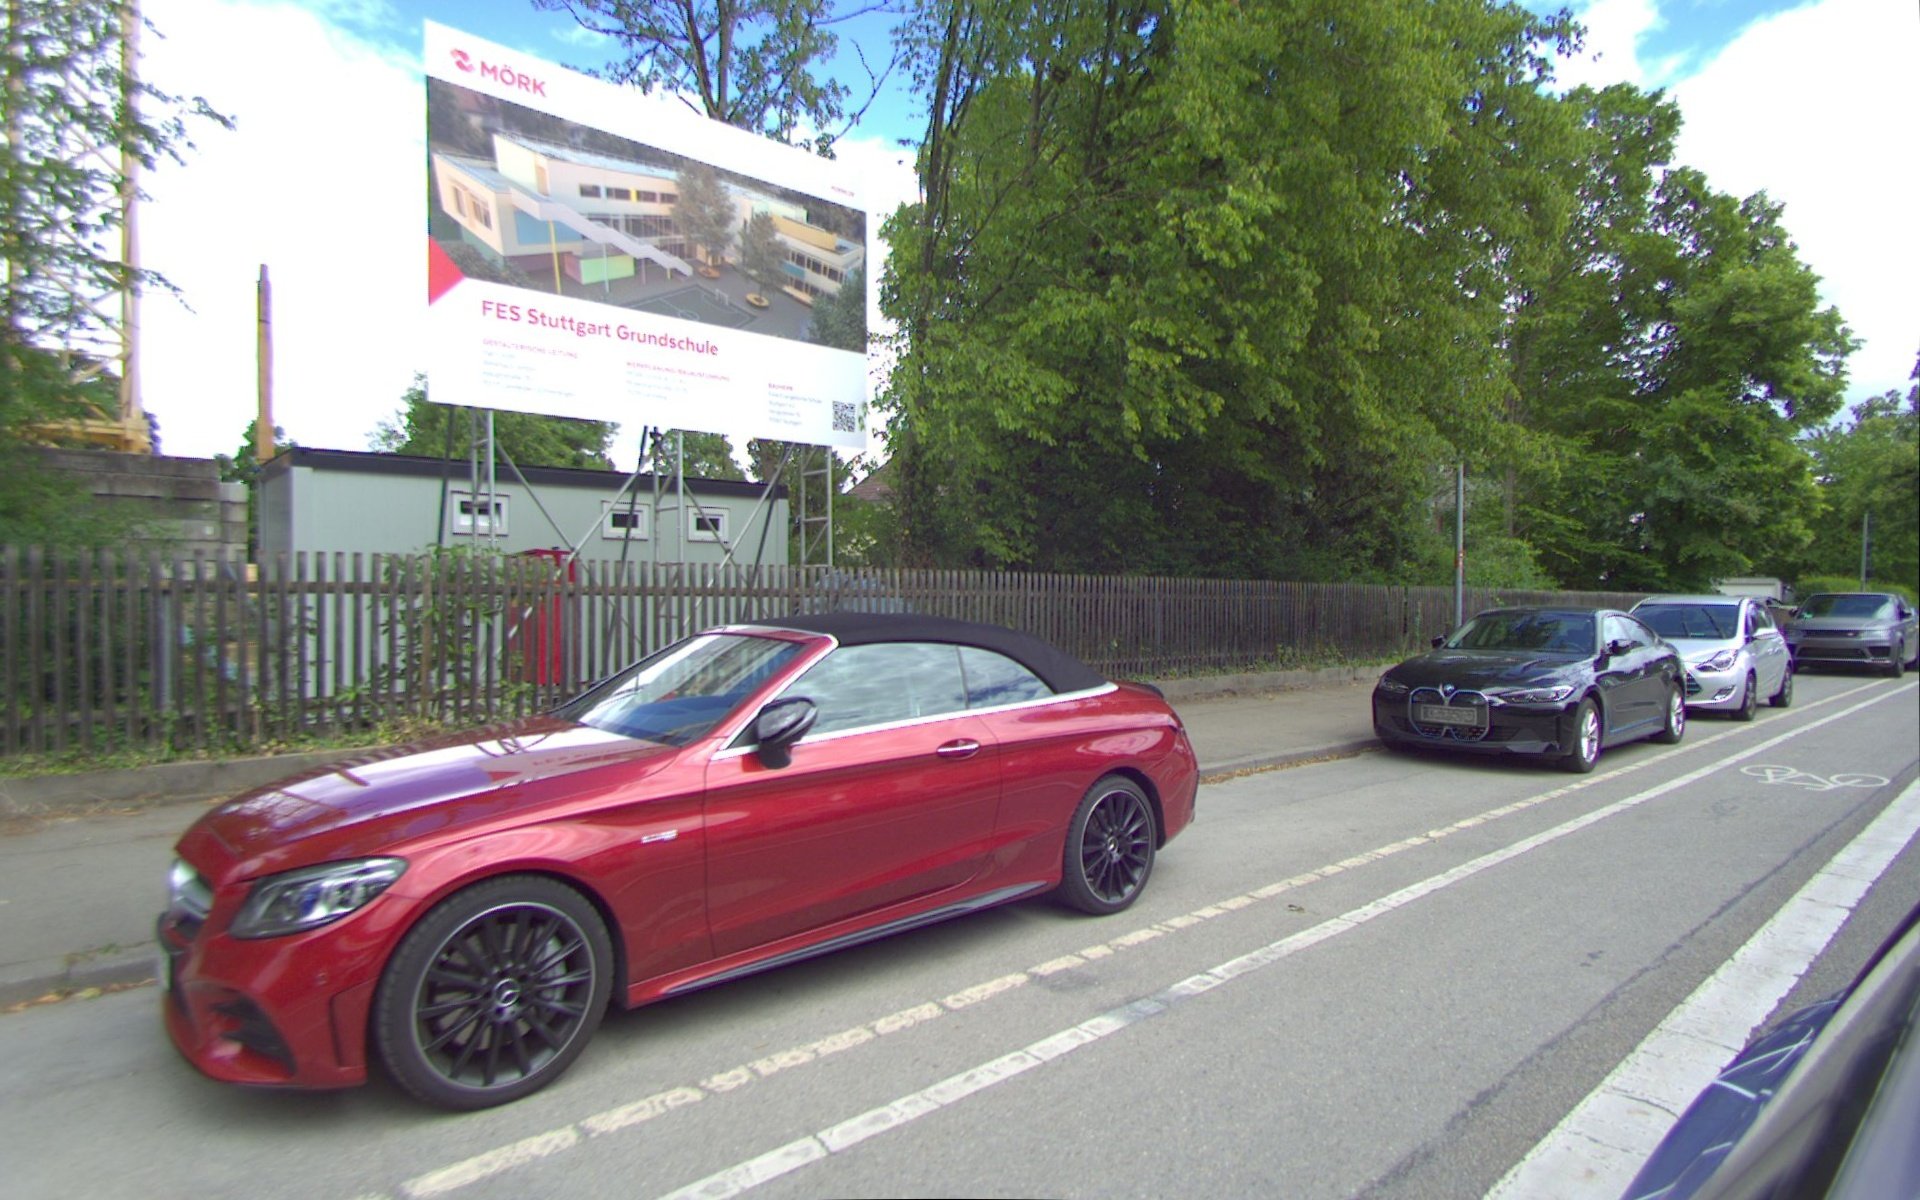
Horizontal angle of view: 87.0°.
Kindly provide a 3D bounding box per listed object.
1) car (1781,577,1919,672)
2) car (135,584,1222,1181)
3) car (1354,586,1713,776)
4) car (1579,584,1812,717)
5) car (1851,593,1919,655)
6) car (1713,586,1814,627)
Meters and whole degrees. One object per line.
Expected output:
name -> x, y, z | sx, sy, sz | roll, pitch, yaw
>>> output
car -> 19.625, 0.443, 21.949 | 4.742, 1.838, 1.997 | -1, 1, -40
car -> -0.894, 0.706, 4.575 | 4.364, 1.432, 1.862 | 1, -1, -40
car -> 6.077, 0.641, 10.465 | 4.599, 1.534, 1.819 | -1, 0, -41
car -> 10.532, 0.592, 14.366 | 4.346, 1.609, 1.865 | 0, 1, -43
car -> 25.080, 0.588, 26.914 | 3.855, 1.520, 1.687 | -1, 1, -43
car -> 32.245, 0.236, 40.631 | 3.152, 1.587, 1.655 | 0, 1, -16
